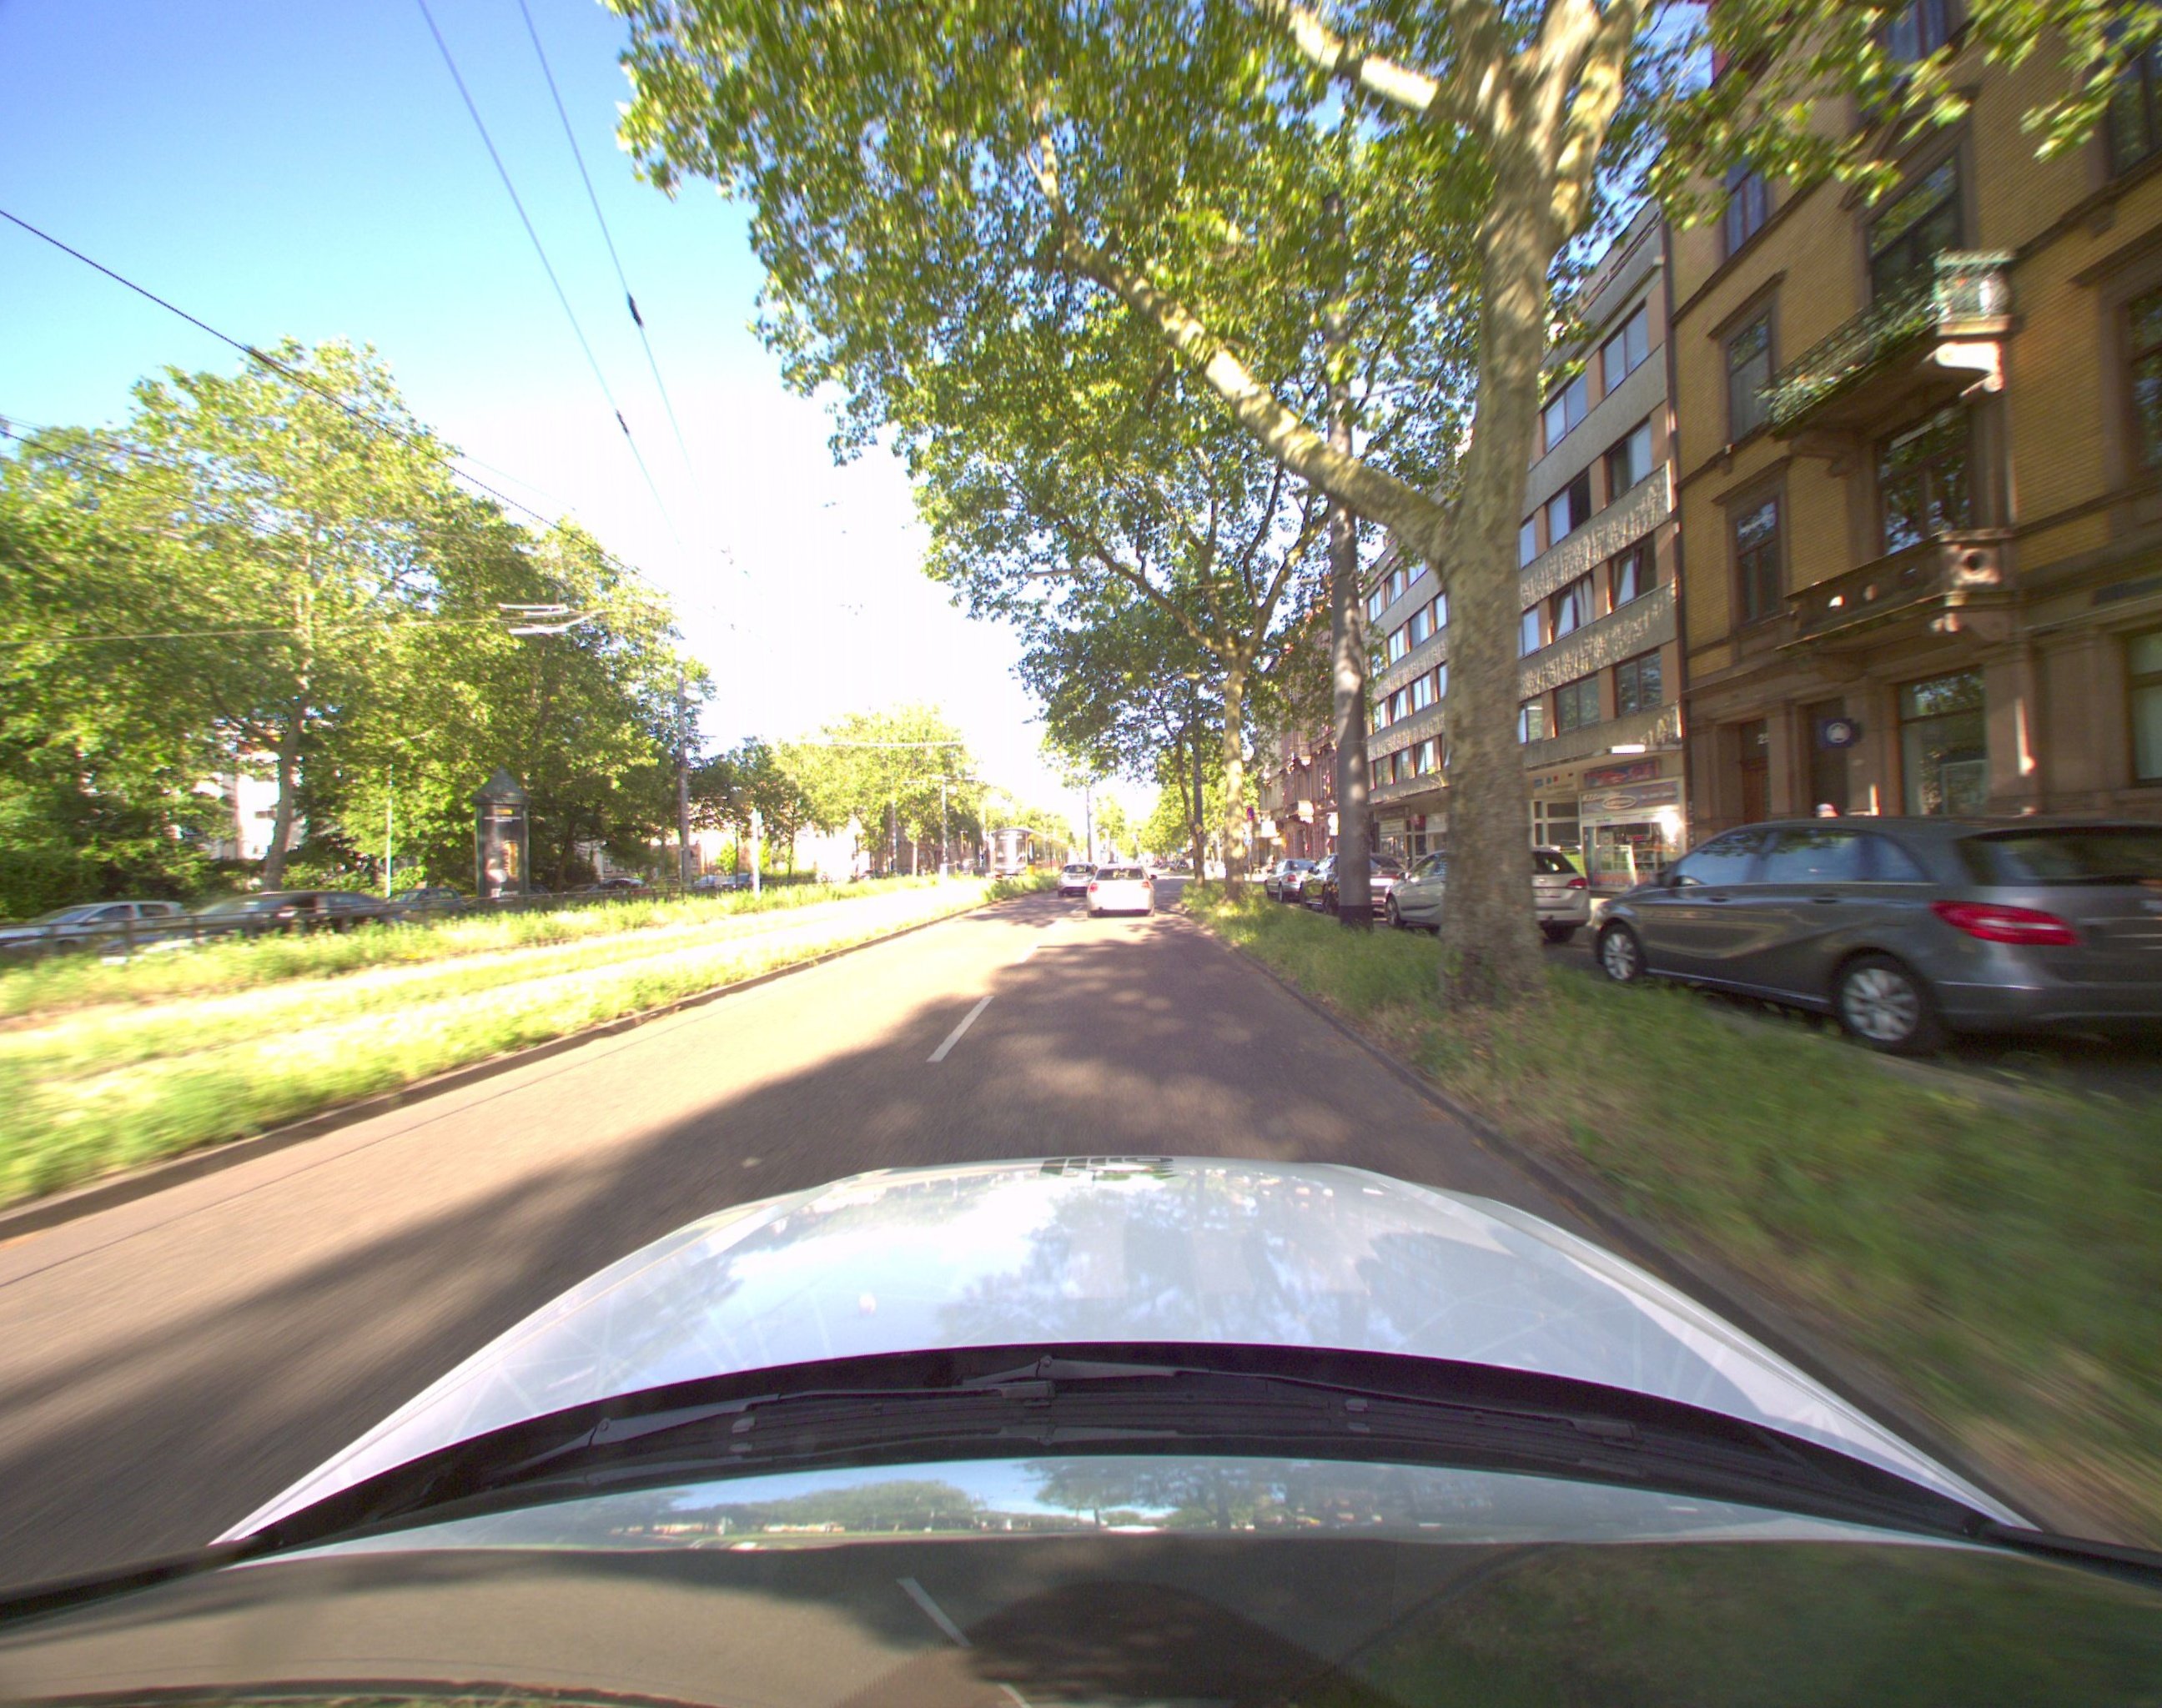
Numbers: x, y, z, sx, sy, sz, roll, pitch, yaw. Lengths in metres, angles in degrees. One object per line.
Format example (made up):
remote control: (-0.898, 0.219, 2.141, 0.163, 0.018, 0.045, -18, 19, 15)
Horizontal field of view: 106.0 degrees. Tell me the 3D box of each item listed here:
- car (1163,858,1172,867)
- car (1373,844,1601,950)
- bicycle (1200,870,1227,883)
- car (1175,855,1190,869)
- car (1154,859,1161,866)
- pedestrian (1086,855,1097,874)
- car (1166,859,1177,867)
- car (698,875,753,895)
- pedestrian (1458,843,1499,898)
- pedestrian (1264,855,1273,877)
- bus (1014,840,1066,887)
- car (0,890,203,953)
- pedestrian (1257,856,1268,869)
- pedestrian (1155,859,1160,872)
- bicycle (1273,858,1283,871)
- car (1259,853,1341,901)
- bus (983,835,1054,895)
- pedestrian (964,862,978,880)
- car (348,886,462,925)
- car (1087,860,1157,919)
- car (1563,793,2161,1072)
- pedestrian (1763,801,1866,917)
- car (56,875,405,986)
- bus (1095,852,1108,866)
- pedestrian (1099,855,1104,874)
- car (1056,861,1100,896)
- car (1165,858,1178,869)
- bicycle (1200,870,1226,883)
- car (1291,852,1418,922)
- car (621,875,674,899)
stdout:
car: (17.168, 1.656, 161.278, 1.662, 1.551, 4.004, 0, 0, 3)
car: (6.486, 0.617, 13.674, 1.670, 1.466, 4.672, 0, 0, 2)
bicycle: (10.445, 1.805, 64.249, 1.996, 0.993, 0.444, 0, 0, 0)
car: (14.226, 1.098, 114.302, 1.747, 1.965, 4.741, -1, 0, 3)
car: (19.099, 2.123, 203.141, 1.693, 1.534, 3.720, 0, 0, 3)
pedestrian: (1.064, 1.084, 85.318, 1.068, 1.916, 1.127, -2, -1, 1)
car: (17.339, 1.793, 155.976, 1.985, 1.509, 4.601, 0, -1, 3)
car: (-24.023, 2.085, 55.238, 1.785, 1.178, 4.003, 0, 0, 3)
pedestrian: (12.896, 0.539, 26.461, 0.995, 1.760, 0.716, 0, 0, 3)
pedestrian: (15.271, 0.990, 66.268, 0.463, 1.810, 0.779, 0, 0, 34)
bus: (-3.197, 0.716, 67.379, 2.857, 3.444, 12.226, -2, 0, 4)
car: (-25.516, 1.692, 21.130, 1.561, 1.312, 3.507, 0, 0, 3)
pedestrian: (15.843, 0.747, 71.125, 0.774, 1.161, 0.466, 0, 0, -22)
pedestrian: (12.810, 1.919, 136.604, 0.833, 2.013, 0.650, 0, 0, 10)
bicycle: (16.034, 0.851, 66.326, 0.441, 0.993, 1.690, 0, 0, 2)
car: (7.163, 0.697, 27.027, 1.694, 1.424, 4.520, 0, 0, 2)
bus: (-3.909, 0.683, 54.698, 2.857, 3.444, 13.228, -2, 0, 4)
pedestrian: (-10.126, 1.544, 75.052, 1.174, 1.643, 0.891, -1, -1, -4)
car: (-25.339, 1.882, 30.672, 1.401, 1.228, 3.361, -2, 0, 2)
car: (1.120, 0.899, 22.583, 1.755, 1.432, 4.003, 0, 0, 2)
car: (5.917, 0.420, 6.568, 1.697, 1.502, 4.361, 0, 0, 3)
pedestrian: (12.204, 0.086, 13.574, 0.995, 1.840, 0.716, -2, -1, 5)
car: (-14.611, 1.213, 14.397, 1.786, 1.552, 4.051, 0, 0, 3)
bus: (5.698, 1.228, 218.515, 2.738, 3.625, 18.865, -1, 0, 4)
pedestrian: (2.062, 1.086, 81.979, 0.450, 1.903, 0.584, -2, -1, -4)
car: (-0.070, 1.013, 34.949, 1.639, 1.363, 3.763, 0, 0, 4)
car: (14.387, 1.506, 129.709, 1.685, 1.658, 4.043, -2, 1, 3)
bicycle: (10.514, 1.789, 64.833, 2.007, 0.993, 0.444, 0, 0, 0)
car: (6.436, 0.710, 19.746, 1.797, 1.490, 4.925, 0, 0, 4)
car: (-24.362, 1.840, 45.872, 1.395, 1.200, 2.846, -2, 0, 2)
